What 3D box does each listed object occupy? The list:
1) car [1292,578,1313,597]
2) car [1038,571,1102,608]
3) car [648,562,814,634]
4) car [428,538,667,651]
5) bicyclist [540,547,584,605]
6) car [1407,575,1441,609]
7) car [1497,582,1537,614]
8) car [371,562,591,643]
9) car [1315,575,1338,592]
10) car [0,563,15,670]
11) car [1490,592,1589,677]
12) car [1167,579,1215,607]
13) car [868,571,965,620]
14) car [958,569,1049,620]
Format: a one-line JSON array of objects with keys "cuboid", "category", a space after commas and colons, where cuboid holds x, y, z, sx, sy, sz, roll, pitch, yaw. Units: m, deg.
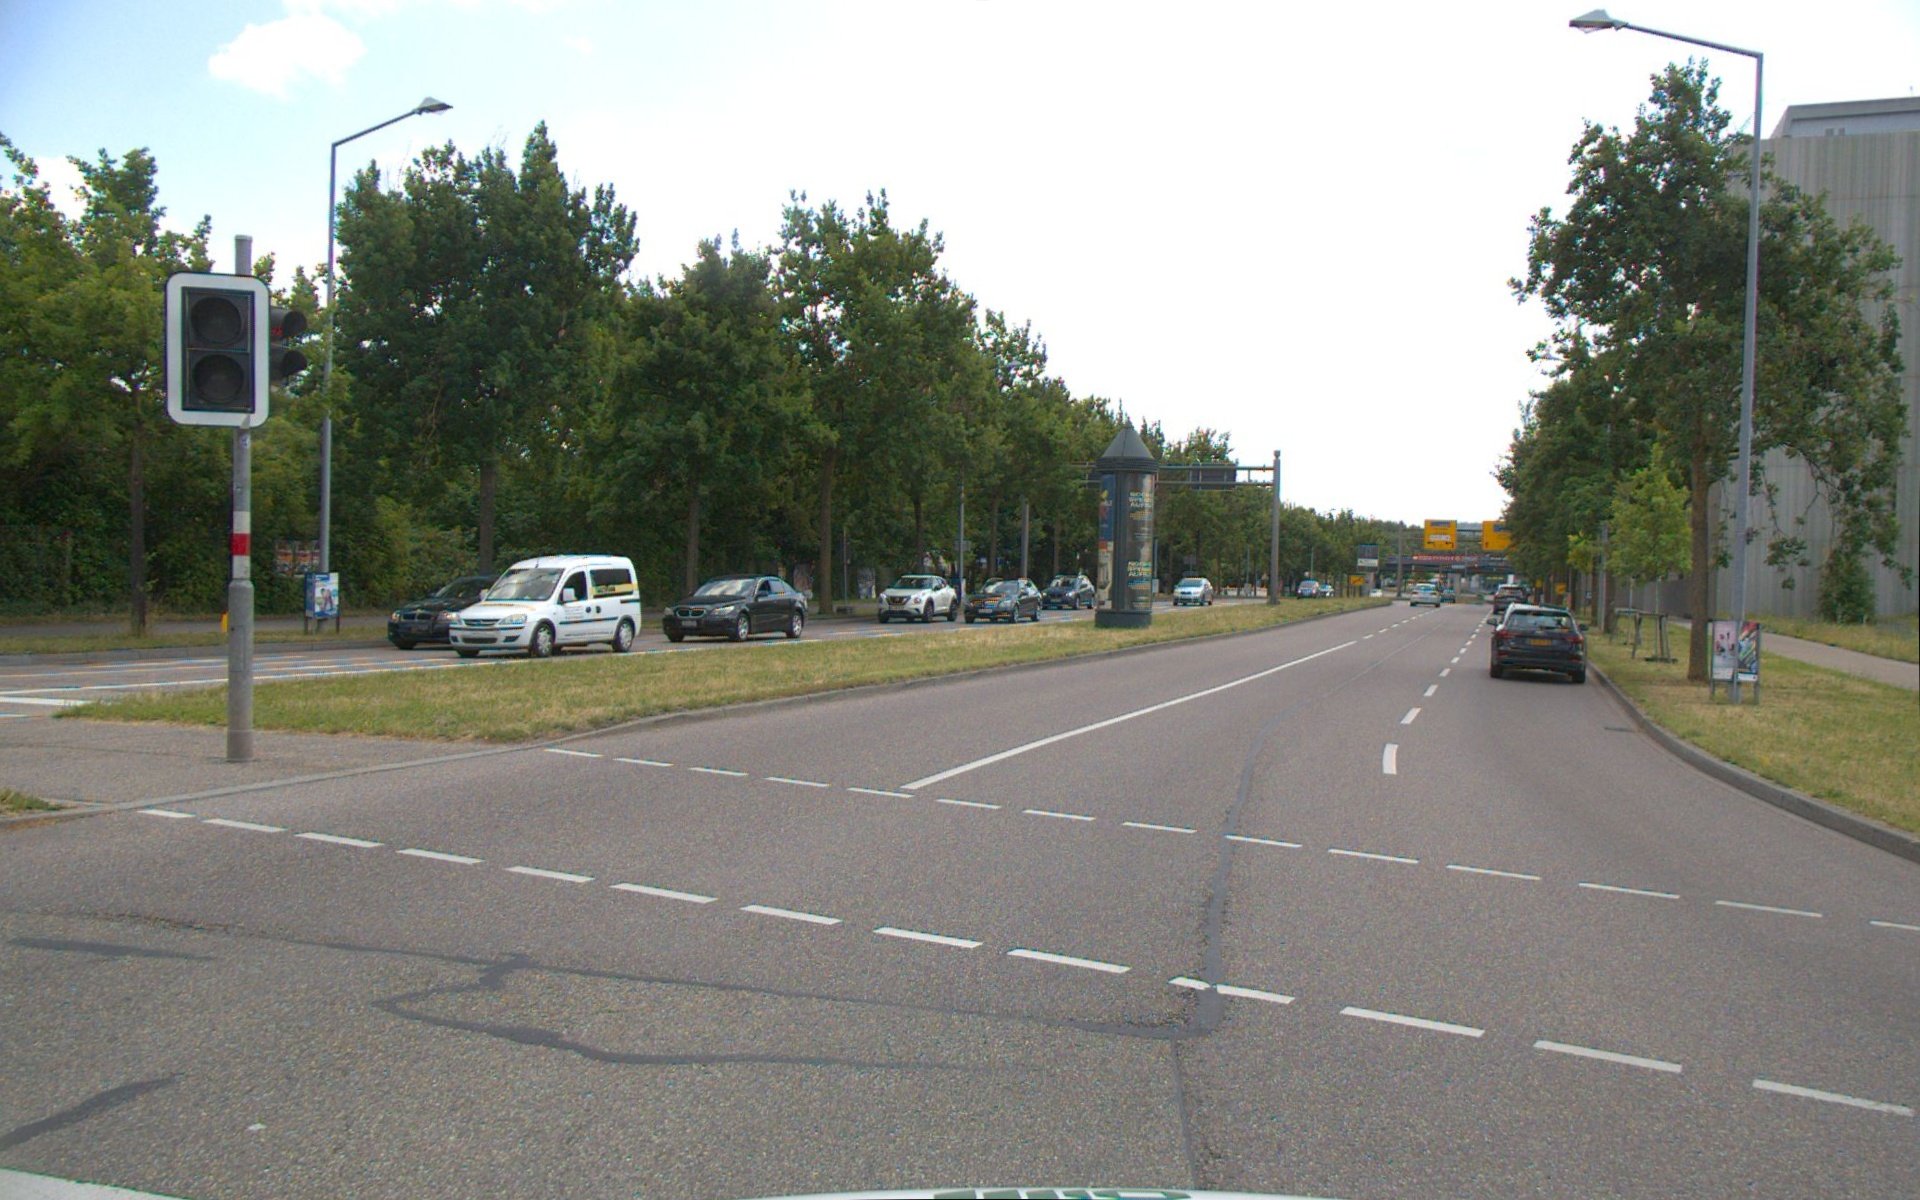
[{"cuboid": [29.503, -1.062, 142.274, 1.704, 1.596, 4.279, 0, 1, 13], "category": "car"}, {"cuboid": [5.121, -0.509, 76.386, 1.726, 1.604, 5.034, 1, 1, 18], "category": "car"}, {"cuboid": [-5.077, -0.046, 37.395, 1.799, 1.506, 4.755, 0, 0, 19], "category": "car"}, {"cuboid": [-7.189, -0.102, 29.396, 1.799, 1.831, 4.789, 0, 0, 19], "category": "car"}, {"cuboid": [-11.354, -0.689, 47.202, 0.813, 1.592, 0.884, 4, 1, 18], "category": "bicyclist"}, {"cuboid": [29.781, -0.520, 106.153, 1.952, 2.048, 4.003, 3, 1, 16], "category": "car"}, {"cuboid": [30.693, -0.155, 91.130, 1.952, 1.654, 4.311, 2, 1, 19], "category": "car"}, {"cuboid": [-9.344, 0.038, 32.656, 1.800, 1.468, 4.418, 0, 0, 23], "category": "car"}, {"cuboid": [36.139, -1.636, 162.942, 1.705, 1.572, 4.575, 0, 1, 19], "category": "car"}, {"cuboid": [-13.720, 0.212, 19.746, 1.582, 1.372, 4.171, 0, 0, 21], "category": "car"}, {"cuboid": [11.463, 0.639, 32.902, 1.649, 1.489, 4.002, 3, 1, 17], "category": "car"}, {"cuboid": [12.333, -0.387, 88.105, 1.726, 1.465, 4.311, 1, 1, 19], "category": "car"}, {"cuboid": [-1.422, -0.186, 55.847, 1.870, 1.567, 4.370, 1, 1, 18], "category": "car"}, {"cuboid": [1.525, -0.220, 55.712, 1.686, 1.618, 5.015, 1, 1, 18], "category": "car"}]
